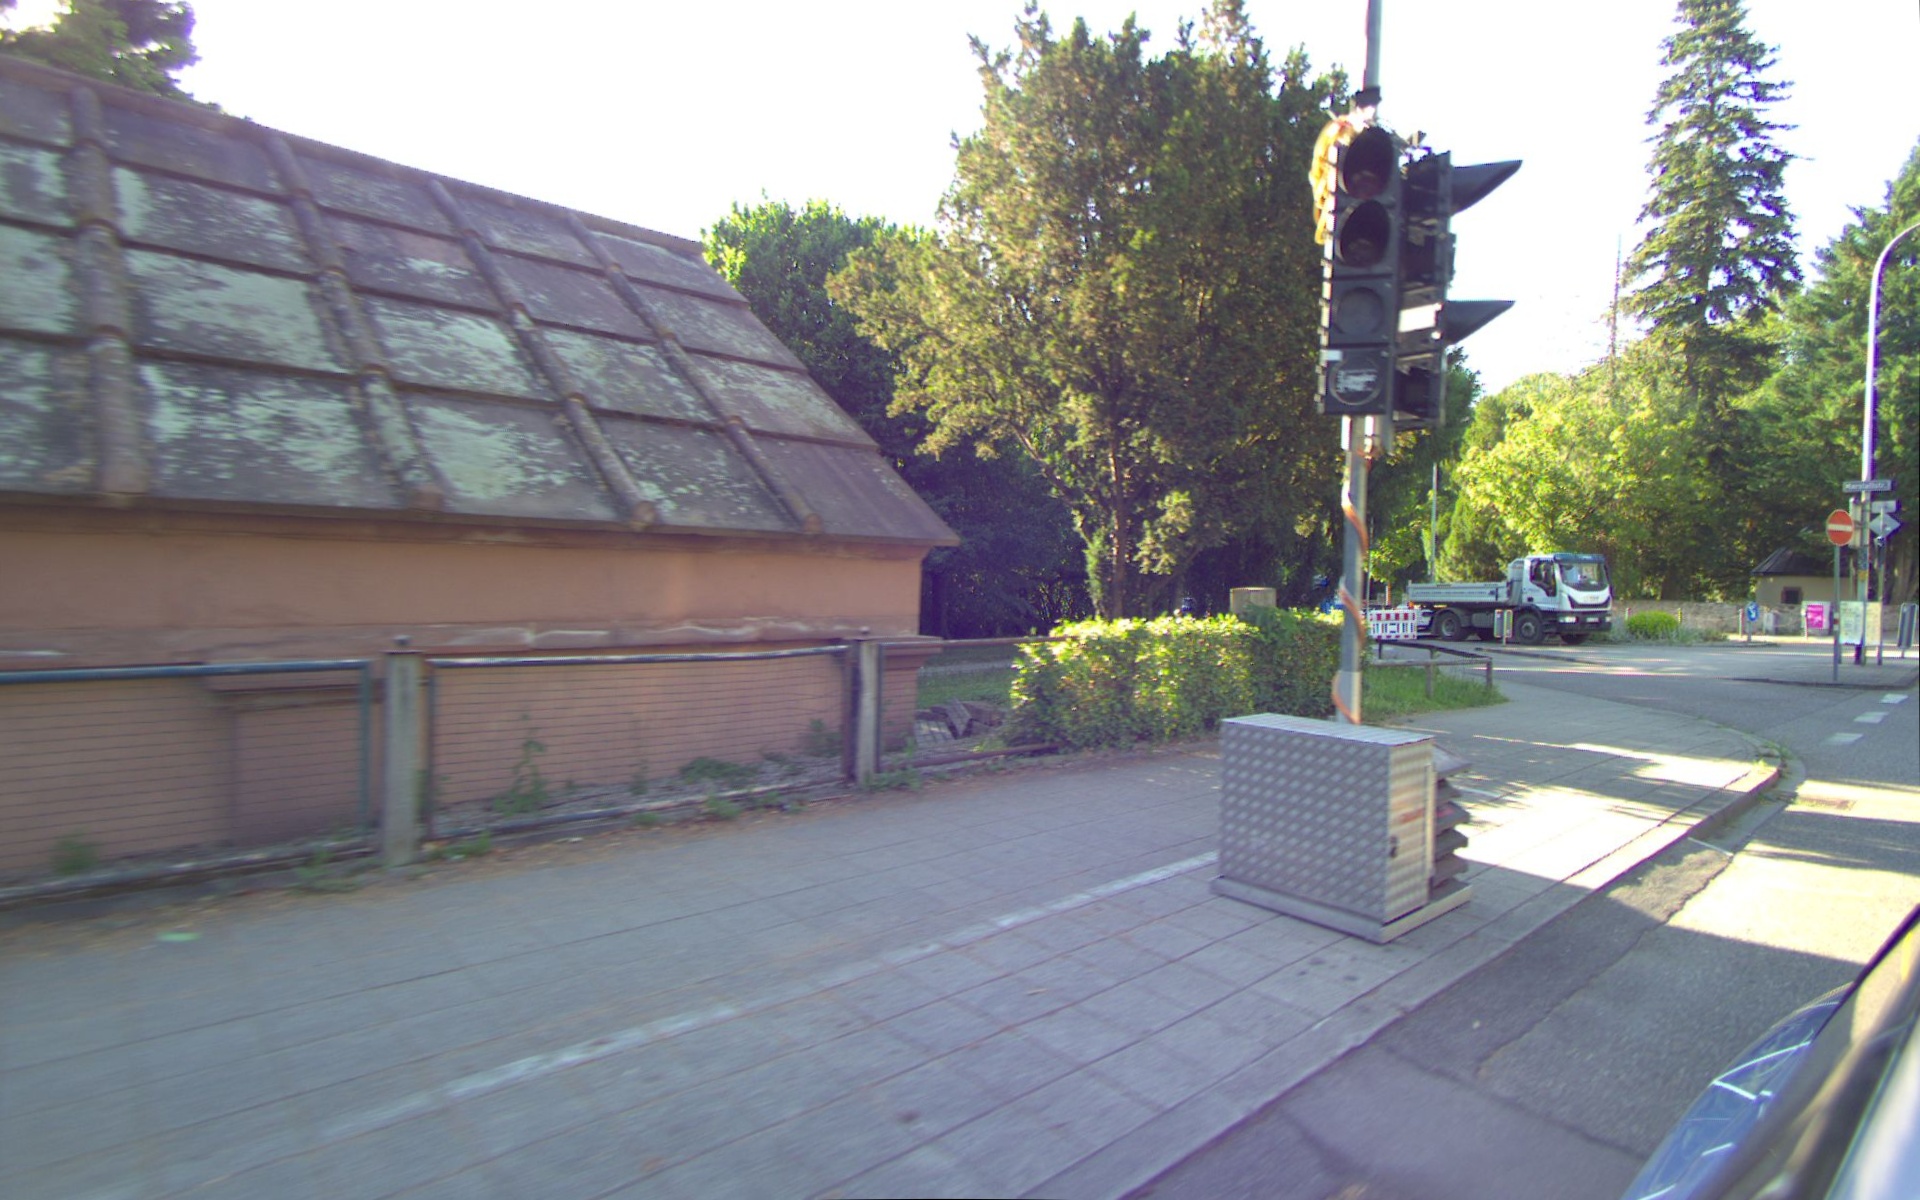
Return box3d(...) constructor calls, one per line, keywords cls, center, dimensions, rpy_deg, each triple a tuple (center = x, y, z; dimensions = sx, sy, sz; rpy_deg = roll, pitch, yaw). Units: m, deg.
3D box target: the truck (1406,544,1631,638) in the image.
box3d(cls="truck", center=(18.169, -0.263, 33.447), dimensions=(2.321, 2.787, 6.524), rpy_deg=(0, 0, -21))
